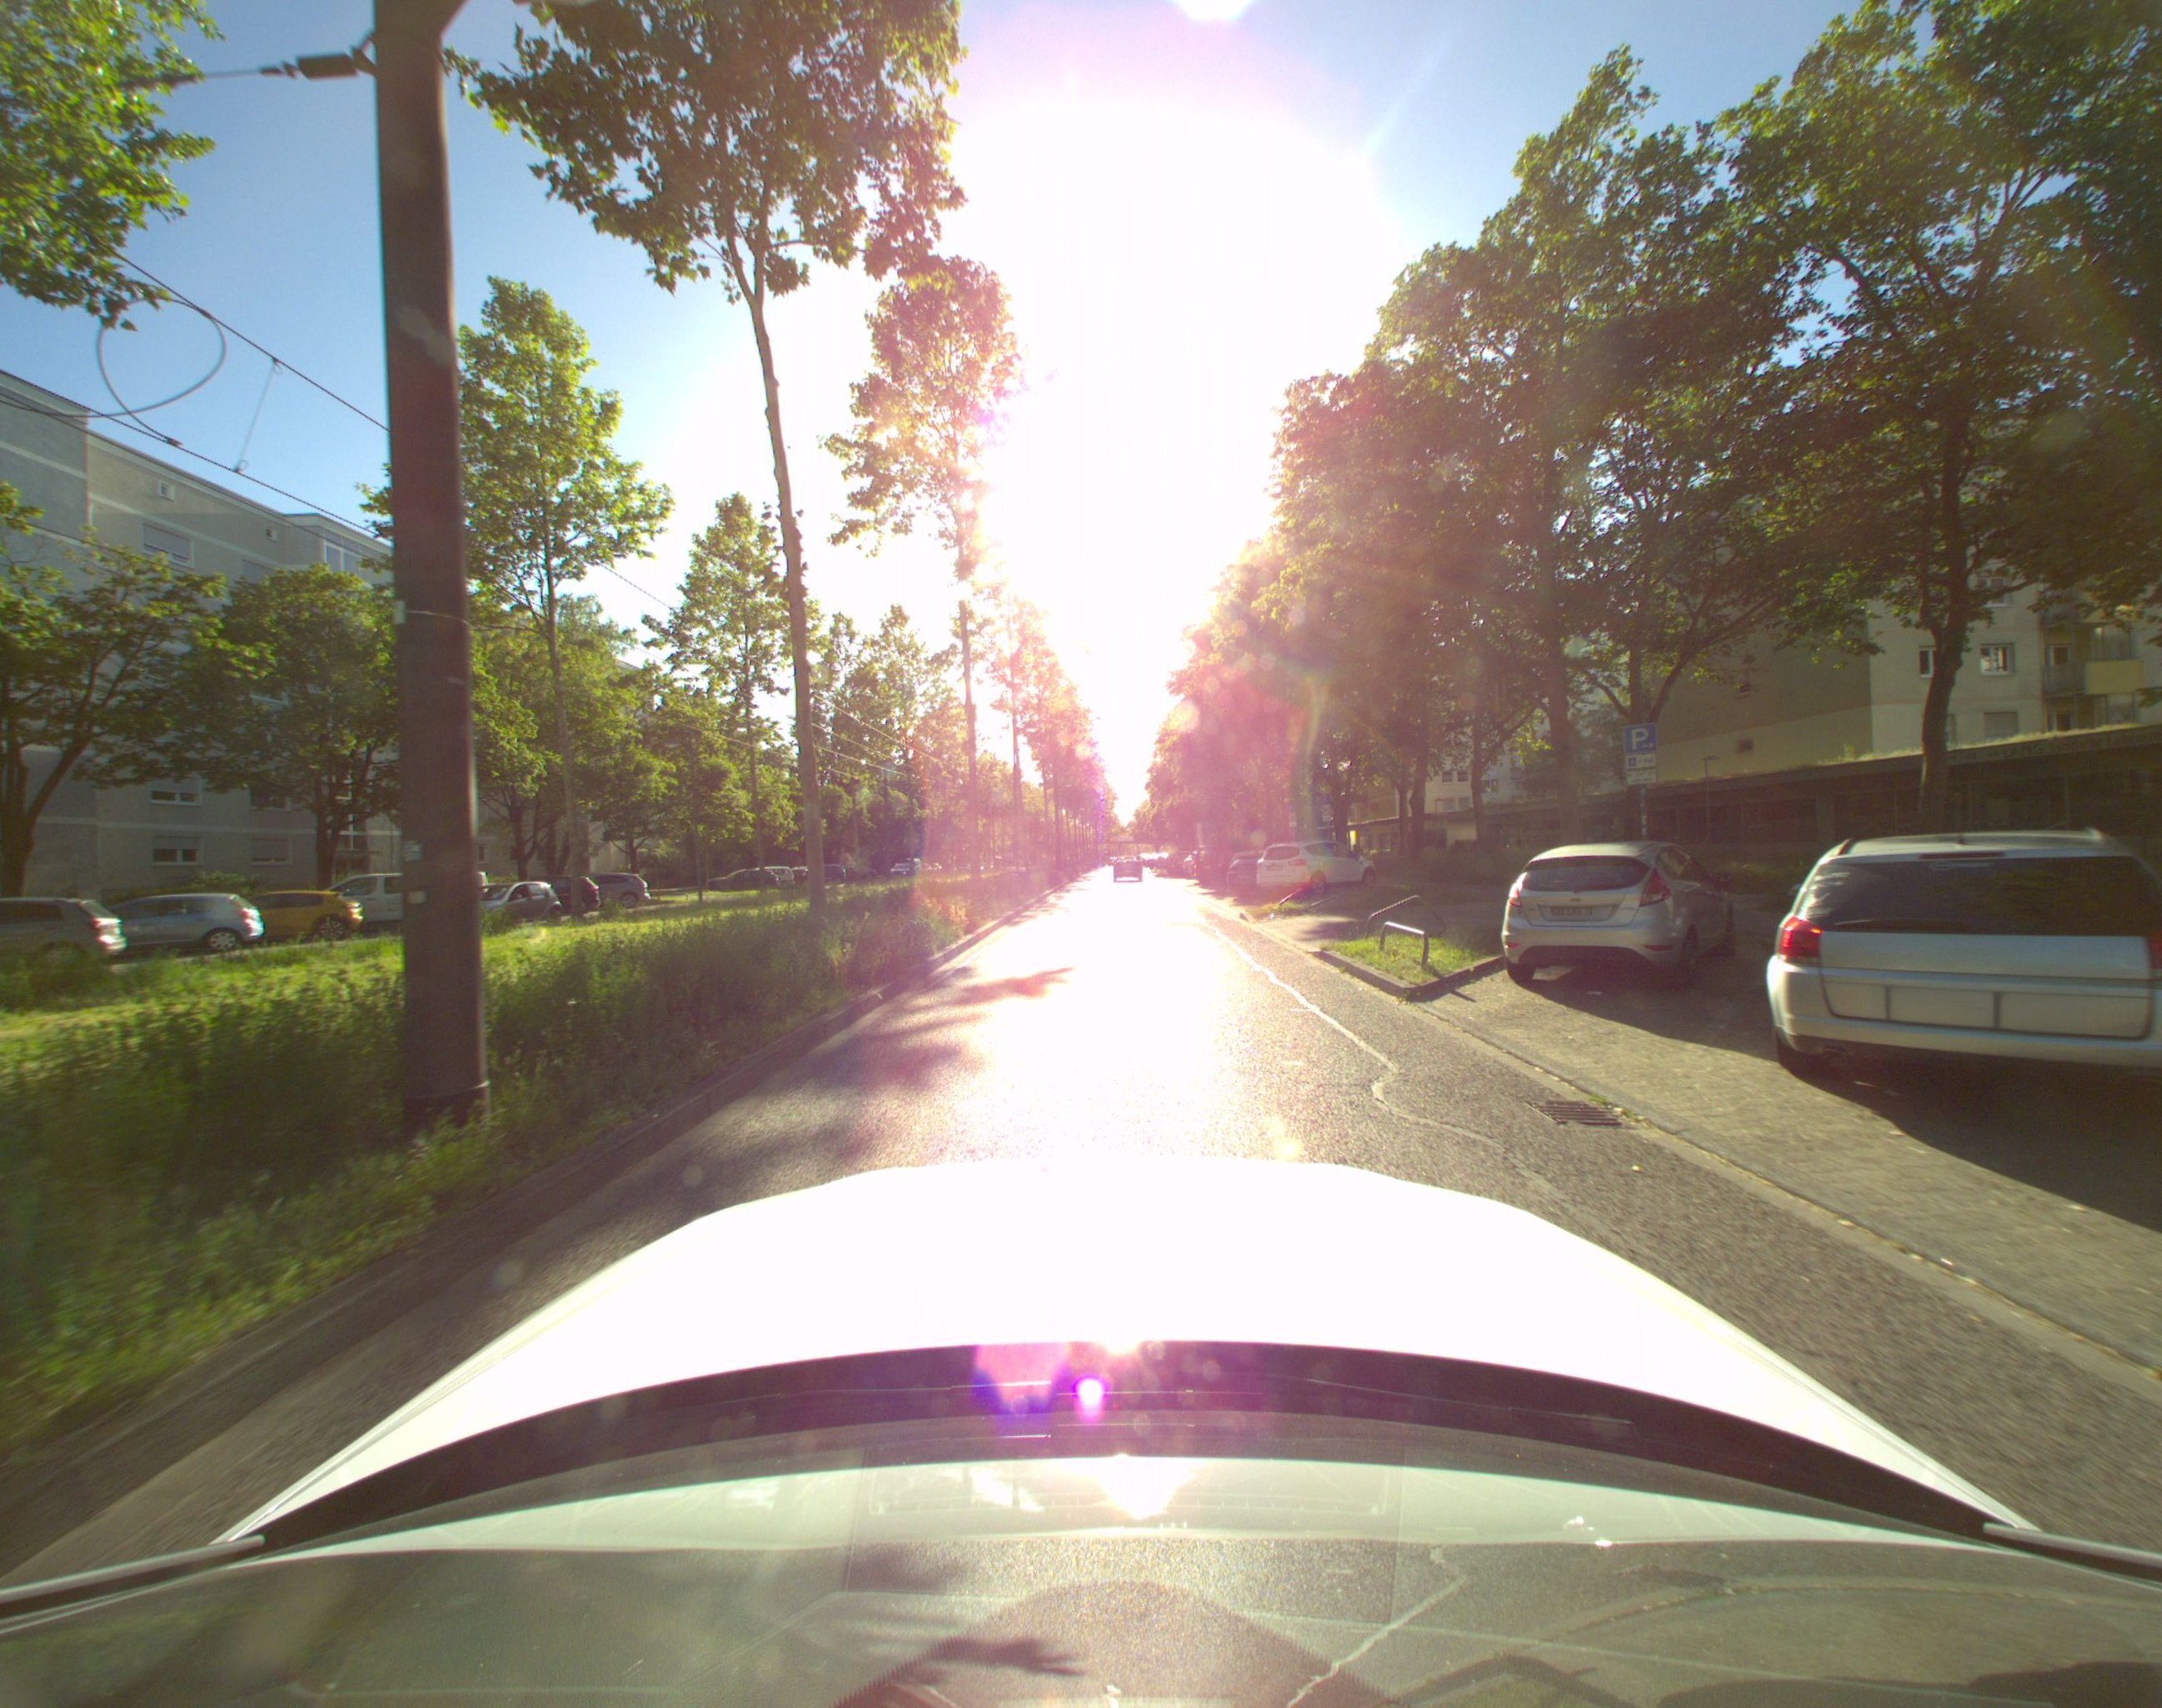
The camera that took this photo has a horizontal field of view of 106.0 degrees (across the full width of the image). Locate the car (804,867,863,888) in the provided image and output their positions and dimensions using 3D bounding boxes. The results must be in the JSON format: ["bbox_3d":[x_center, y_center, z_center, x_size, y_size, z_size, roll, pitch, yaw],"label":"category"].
[{"bbox_3d":[-21.327,2.055,70.228,4.511,1.568,1.774,-2,-1,-41],"label":"car"}]

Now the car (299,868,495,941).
[{"bbox_3d":[-22.573,1.599,27.190,4.820,2.006,1.871,-2,1,-36],"label":"car"}]

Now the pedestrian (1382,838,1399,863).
[{"bbox_3d":[23.902,-0.282,62.851,0.871,1.914,0.869,-2,0,-7],"label":"pedestrian"}]

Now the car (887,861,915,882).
[{"bbox_3d":[-19.463,1.867,88.332,1.638,2.093,4.920,0,0,4],"label":"car"}]

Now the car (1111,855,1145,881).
[{"bbox_3d":[2.780,0.793,48.943,1.914,1.411,4.003,-2,0,2],"label":"car"}]

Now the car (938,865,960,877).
[{"bbox_3d":[-17.774,2.307,109.851,1.985,1.453,4.004,0,0,4],"label":"car"}]

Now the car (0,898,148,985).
[{"bbox_3d":[-22.781,1.875,16.999,4.106,1.646,1.632,-2,-1,-40],"label":"car"}]

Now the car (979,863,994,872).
[{"bbox_3d":[-15.756,2.248,136.116,1.779,1.590,4.172,0,0,4],"label":"car"}]

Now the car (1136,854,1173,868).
[{"bbox_3d":[9.133,0.861,101.122,4.651,1.459,1.955,-2,-1,-44],"label":"car"}]

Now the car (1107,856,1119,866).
[{"bbox_3d":[5.420,1.198,136.722,1.842,1.535,3.869,-2,0,3],"label":"car"}]

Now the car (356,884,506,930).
[{"bbox_3d":[-23.464,1.878,29.588,4.099,1.432,1.563,0,0,-32],"label":"car"}]

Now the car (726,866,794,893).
[{"bbox_3d":[-22.393,1.766,56.837,4.000,1.675,1.766,-2,-1,-41],"label":"car"}]

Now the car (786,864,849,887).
[{"bbox_3d":[-21.449,1.739,66.375,4.511,1.675,1.774,-2,-1,-41],"label":"car"}]

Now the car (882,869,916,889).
[{"bbox_3d":[-15.991,2.173,71.852,1.917,1.506,4.086,-5,0,1],"label":"car"}]

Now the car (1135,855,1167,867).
[{"bbox_3d":[10.075,0.997,116.642,4.648,1.680,1.835,-1,-1,-40],"label":"car"}]

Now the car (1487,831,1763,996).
[{"bbox_3d":[6.258,0.529,9.185,3.961,1.373,1.568,-3,-1,-42],"label":"car"}]

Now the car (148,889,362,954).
[{"bbox_3d":[-23.302,1.847,23.231,4.106,1.432,1.561,-2,1,-40],"label":"car"}]

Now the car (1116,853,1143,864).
[{"bbox_3d":[8.364,0.744,140.947,4.648,1.768,1.835,-1,-1,-40],"label":"car"}]

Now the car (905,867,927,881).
[{"bbox_3d":[-19.133,2.323,94.642,1.638,1.453,3.667,0,0,4],"label":"car"}]

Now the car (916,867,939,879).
[{"bbox_3d":[-18.761,2.316,99.649,1.864,1.453,3.578,0,0,4],"label":"car"}]

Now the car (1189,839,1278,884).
[{"bbox_3d":[7.106,0.325,37.788,4.105,1.811,1.632,-3,0,-38],"label":"car"}]

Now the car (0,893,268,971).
[{"bbox_3d":[-23.186,1.848,20.197,4.106,1.483,1.632,-2,0,-40],"label":"car"}]

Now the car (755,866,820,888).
[{"bbox_3d":[-22.696,1.777,63.058,4.505,1.481,1.600,-2,-1,-34],"label":"car"}]

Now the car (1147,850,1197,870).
[{"bbox_3d":[8.105,0.527,72.186,4.519,1.443,1.834,-3,0,-42],"label":"car"}]

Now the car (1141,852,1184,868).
[{"bbox_3d":[8.285,0.594,82.558,4.353,1.424,1.834,-3,0,-42],"label":"car"}]

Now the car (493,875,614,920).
[{"bbox_3d":[-21.950,1.760,34.079,4.100,1.530,1.800,-3,1,-32],"label":"car"}]

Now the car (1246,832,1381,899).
[{"bbox_3d":[6.924,0.326,24.095,4.049,1.705,1.740,-3,0,-39],"label":"car"}]

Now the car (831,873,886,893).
[{"bbox_3d":[-20.452,2.649,74.926,4.511,1.568,1.774,-2,-1,-41],"label":"car"}]

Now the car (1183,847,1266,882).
[{"bbox_3d":[7.335,0.525,41.488,4.102,1.481,1.634,-3,0,-34],"label":"car"}]

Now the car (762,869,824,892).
[{"bbox_3d":[-21.541,1.953,61.011,3.942,1.487,1.774,-2,-1,-41],"label":"car"}]

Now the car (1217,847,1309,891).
[{"bbox_3d":[7.022,0.548,31.218,3.649,1.448,1.631,-3,0,-44],"label":"car"}]

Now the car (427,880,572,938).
[{"bbox_3d":[-18.048,1.654,25.510,1.640,1.485,3.851,-3,-1,2],"label":"car"}]

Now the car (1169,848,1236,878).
[{"bbox_3d":[7.777,0.557,51.836,4.341,1.717,1.617,-2,0,-37],"label":"car"}]

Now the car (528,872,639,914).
[{"bbox_3d":[-22.742,1.734,37.284,4.105,1.607,1.972,-3,1,-38],"label":"car"}]

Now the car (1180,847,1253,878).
[{"bbox_3d":[8.053,0.482,48.417,4.101,1.582,1.763,-3,0,-33],"label":"car"}]

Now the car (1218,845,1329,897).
[{"bbox_3d":[6.476,0.559,27.148,3.808,1.470,1.631,-3,0,-42],"label":"car"}]

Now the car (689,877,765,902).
[{"bbox_3d":[-22.772,2.233,52.491,4.154,1.337,1.774,-2,1,-41],"label":"car"}]

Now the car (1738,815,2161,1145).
[{"bbox_3d":[5.999,0.534,5.497,4.208,1.412,1.700,-3,0,-42],"label":"car"}]

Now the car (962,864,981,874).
[{"bbox_3d":[-16.358,2.283,121.932,1.985,1.453,4.004,0,0,4],"label":"car"}]
